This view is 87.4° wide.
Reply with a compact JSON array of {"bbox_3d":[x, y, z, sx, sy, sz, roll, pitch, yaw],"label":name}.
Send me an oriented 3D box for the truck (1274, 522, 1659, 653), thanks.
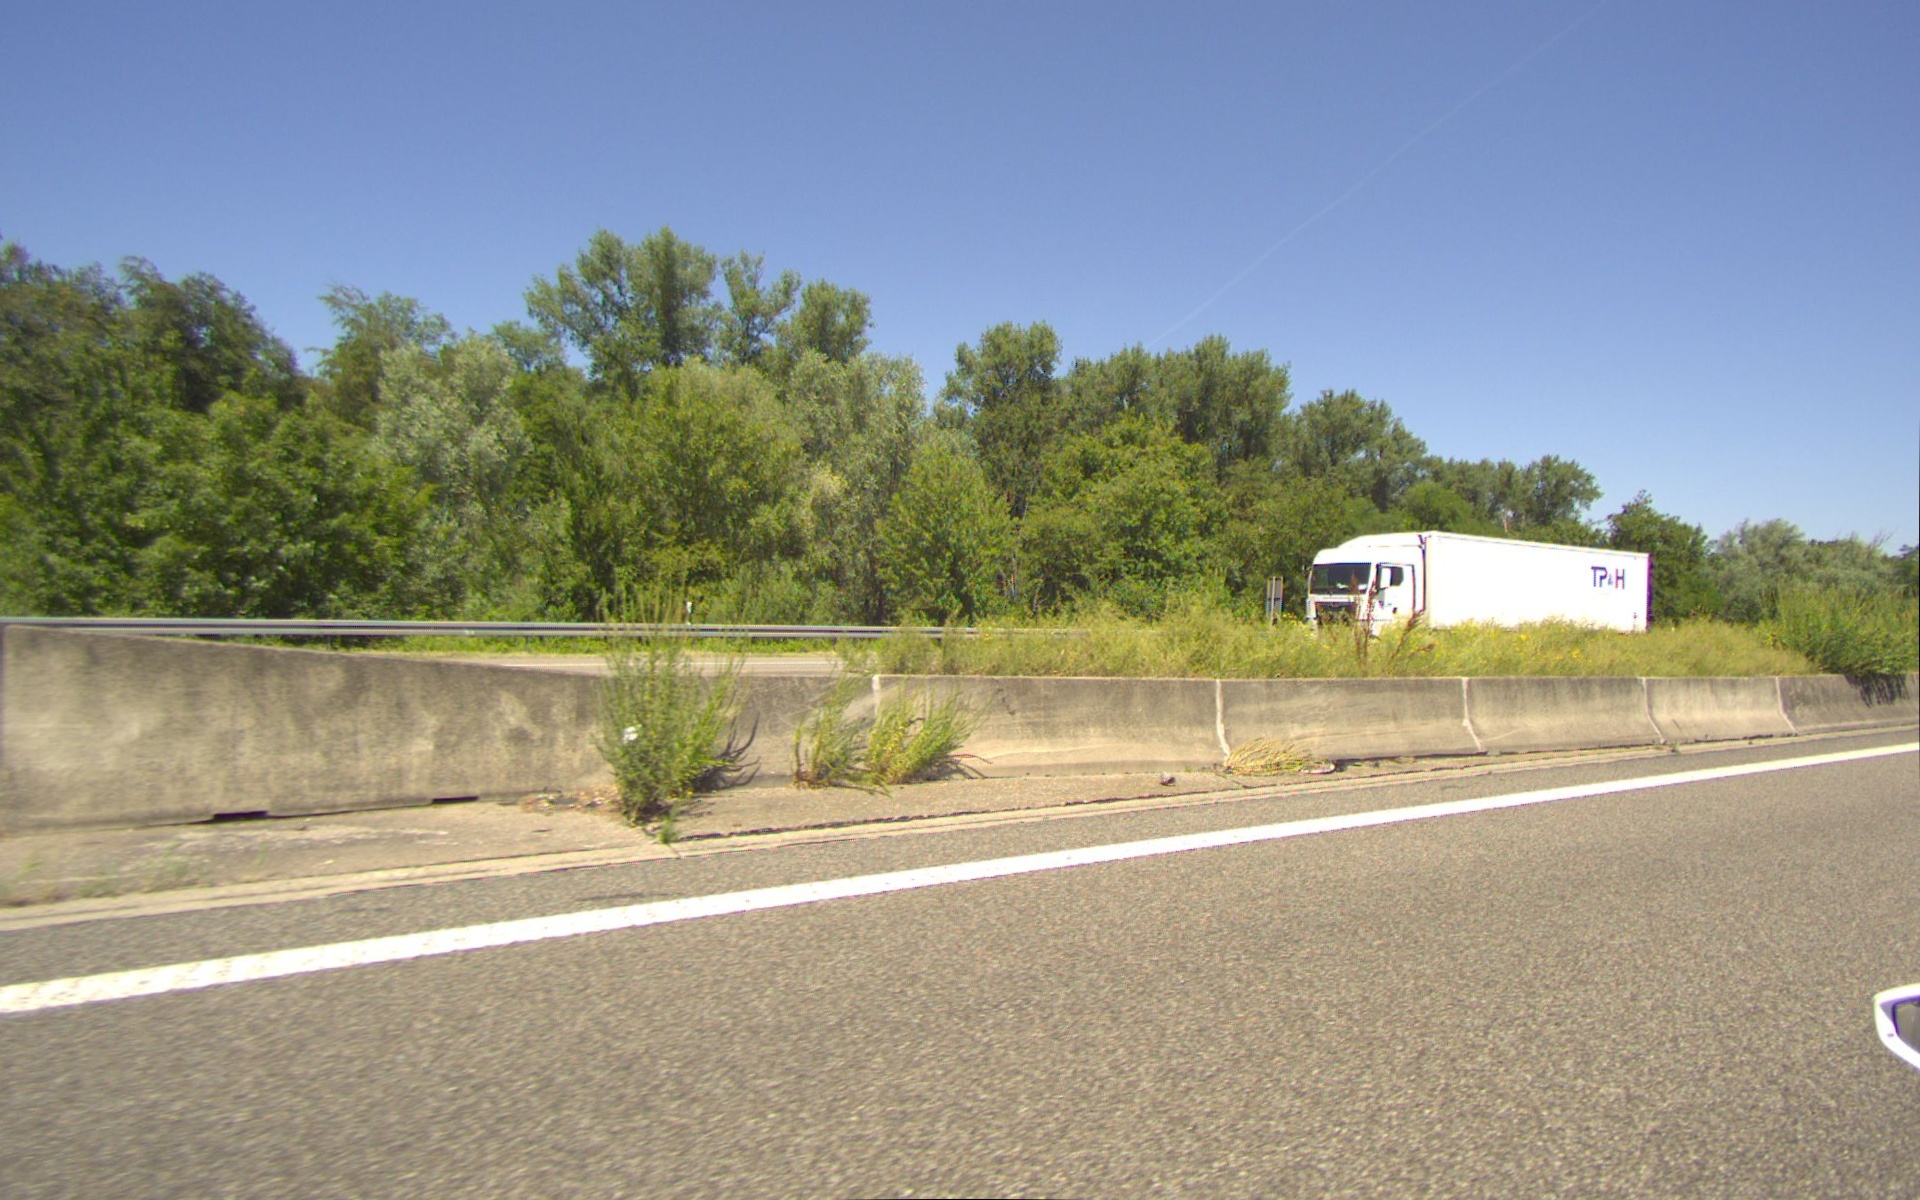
[{"bbox_3d":[18.331,-0.199,35.212,17.289,3.785,3.579,1,0,-32],"label":"truck"}]
